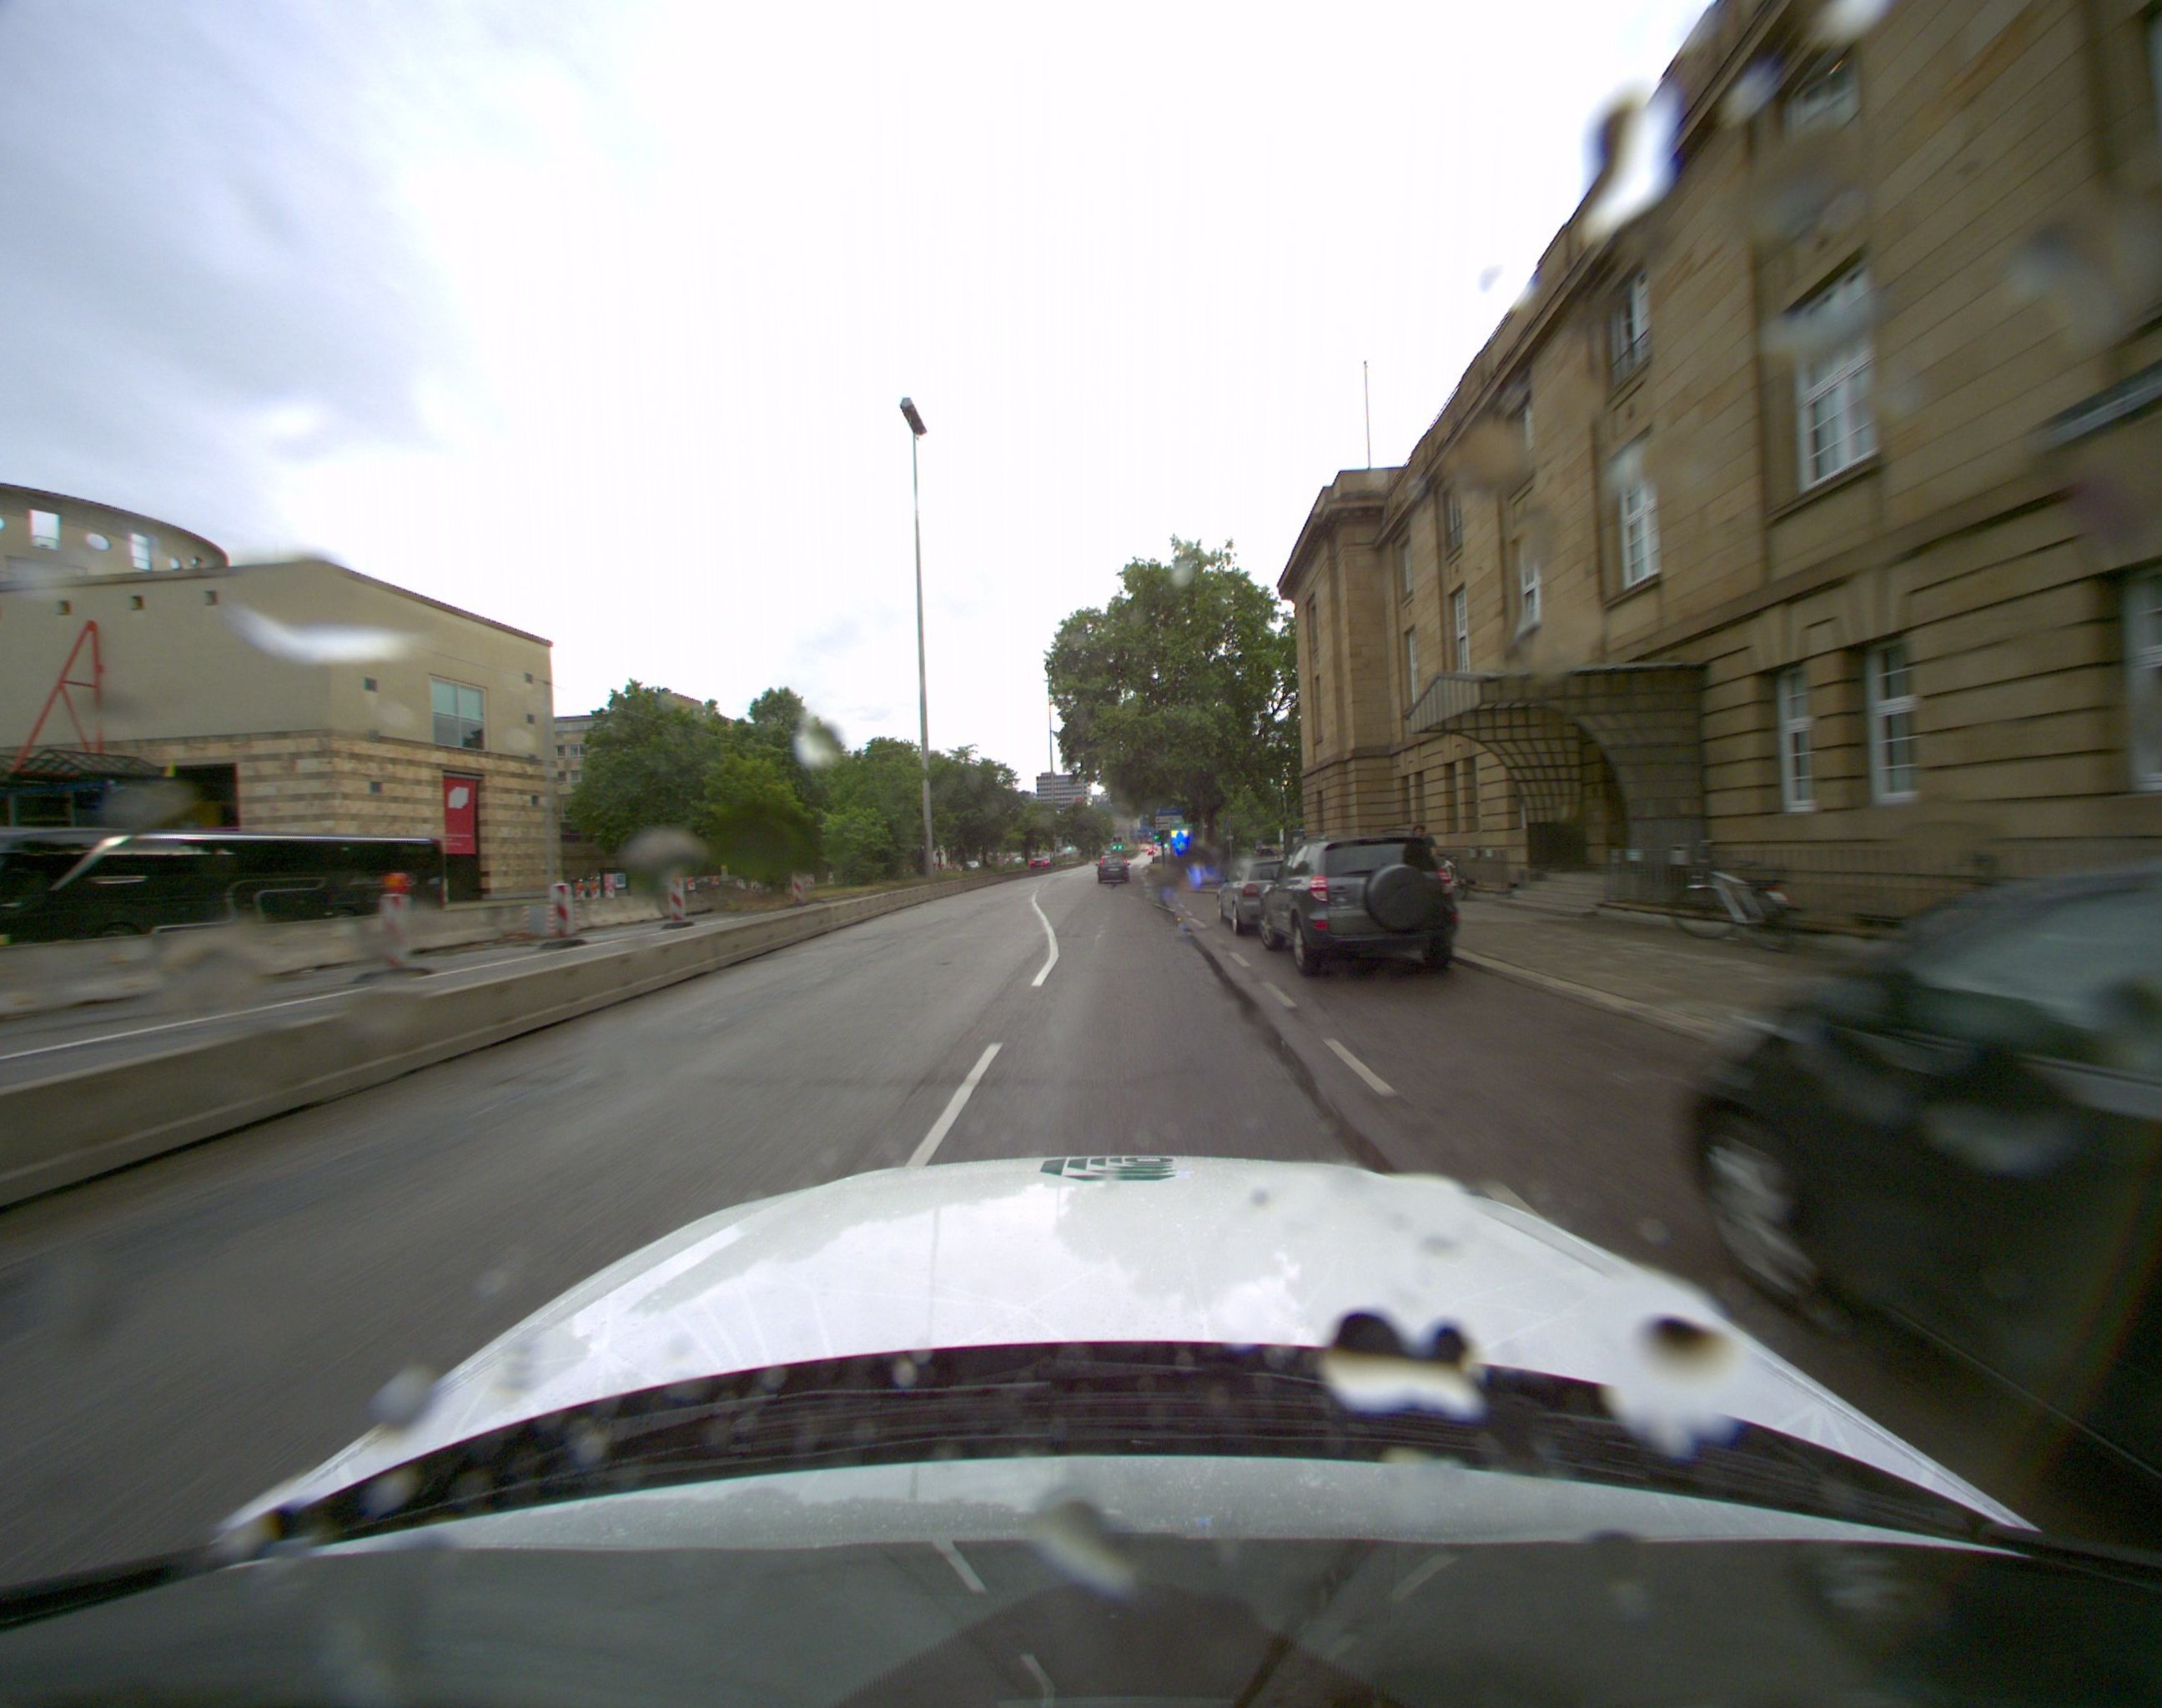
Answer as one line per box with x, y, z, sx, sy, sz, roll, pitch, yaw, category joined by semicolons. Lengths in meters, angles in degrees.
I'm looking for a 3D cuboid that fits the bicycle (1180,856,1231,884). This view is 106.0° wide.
5.098;0.664;33.391;1.978;1.060;0.759;-2;-1;0;bicycle

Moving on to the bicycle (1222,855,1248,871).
10.065;0.581;53.329;1.631;1.020;0.576;0;-1;8;bicycle

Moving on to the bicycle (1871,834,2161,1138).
4.789;0.536;3.449;0.775;1.218;1.960;-4;0;-7;bicycle

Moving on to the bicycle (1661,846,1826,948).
7.508;0.456;9.340;0.580;1.038;1.762;-2;-1;7;bicycle

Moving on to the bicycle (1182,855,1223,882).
5.213;0.606;34.881;1.671;1.090;0.651;-2;-1;5;bicycle

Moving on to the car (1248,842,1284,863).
15.413;-0.150;68.146;1.985;1.609;5.240;-2;1;3;car

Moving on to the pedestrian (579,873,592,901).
-36.831;2.433;60.543;0.475;2.014;0.512;-4;-1;4;pedestrian

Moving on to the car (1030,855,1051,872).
-3.922;0.913;78.950;1.749;1.451;3.998;-4;-1;-1;car

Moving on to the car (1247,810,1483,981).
3.458;0.468;10.837;1.984;1.781;4.195;-2;-1;5;car

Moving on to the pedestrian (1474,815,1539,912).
8.228;0.174;15.774;0.792;1.777;0.642;-5;-1;3;pedestrian

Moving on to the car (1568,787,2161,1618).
2.791;0.575;1.776;1.749;1.414;3.159;-7;-1;8;car

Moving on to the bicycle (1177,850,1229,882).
5.372;0.515;35.972;2.180;1.336;0.651;-2;-1;5;bicycle

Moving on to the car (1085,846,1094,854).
1.909;-0.964;178.102;1.987;1.632;4.000;-2;0;1;car

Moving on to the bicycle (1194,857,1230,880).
5.920;0.648;36.887;1.582;0.994;0.525;-2;0;5;bicycle

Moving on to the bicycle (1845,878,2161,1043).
7.160;0.739;6.347;0.710;1.051;1.739;-2;-1;-1;bicycle

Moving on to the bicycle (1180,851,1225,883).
5.271;0.556;35.397;1.897;1.332;0.651;-2;-1;5;bicycle

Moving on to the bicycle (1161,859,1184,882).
4.174;0.736;37.119;0.663;0.967;1.645;-2;0;19;bicycle

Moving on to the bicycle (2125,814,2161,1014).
7.240;0.357;4.452;0.728;1.268;1.757;-3;-1;-2;bicycle

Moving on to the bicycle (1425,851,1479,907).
8.473;0.552;18.666;0.462;1.215;1.692;-2;-1;2;bicycle

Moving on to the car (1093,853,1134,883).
1.690;0.751;43.104;1.839;1.416;3.837;-4;-1;-1;car

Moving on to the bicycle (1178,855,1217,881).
5.169;0.619;36.189;1.671;1.122;0.602;-2;0;5;bicycle

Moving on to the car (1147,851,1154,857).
20.035;-0.012;233.498;1.730;1.771;4.007;-4;-1;6;car

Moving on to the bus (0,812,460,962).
-28.131;0.842;26.736;2.789;3.811;14.626;-1;0;7;bus

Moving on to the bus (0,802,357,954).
-31.352;0.684;26.012;3.102;4.252;13.520;-1;0;7;bus

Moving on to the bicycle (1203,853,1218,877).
6.630;0.551;41.512;0.601;1.197;1.910;-4;-1;11;bicycle

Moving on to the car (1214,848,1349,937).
3.775;0.688;16.000;1.923;1.478;3.706;-2;-1;4;car
